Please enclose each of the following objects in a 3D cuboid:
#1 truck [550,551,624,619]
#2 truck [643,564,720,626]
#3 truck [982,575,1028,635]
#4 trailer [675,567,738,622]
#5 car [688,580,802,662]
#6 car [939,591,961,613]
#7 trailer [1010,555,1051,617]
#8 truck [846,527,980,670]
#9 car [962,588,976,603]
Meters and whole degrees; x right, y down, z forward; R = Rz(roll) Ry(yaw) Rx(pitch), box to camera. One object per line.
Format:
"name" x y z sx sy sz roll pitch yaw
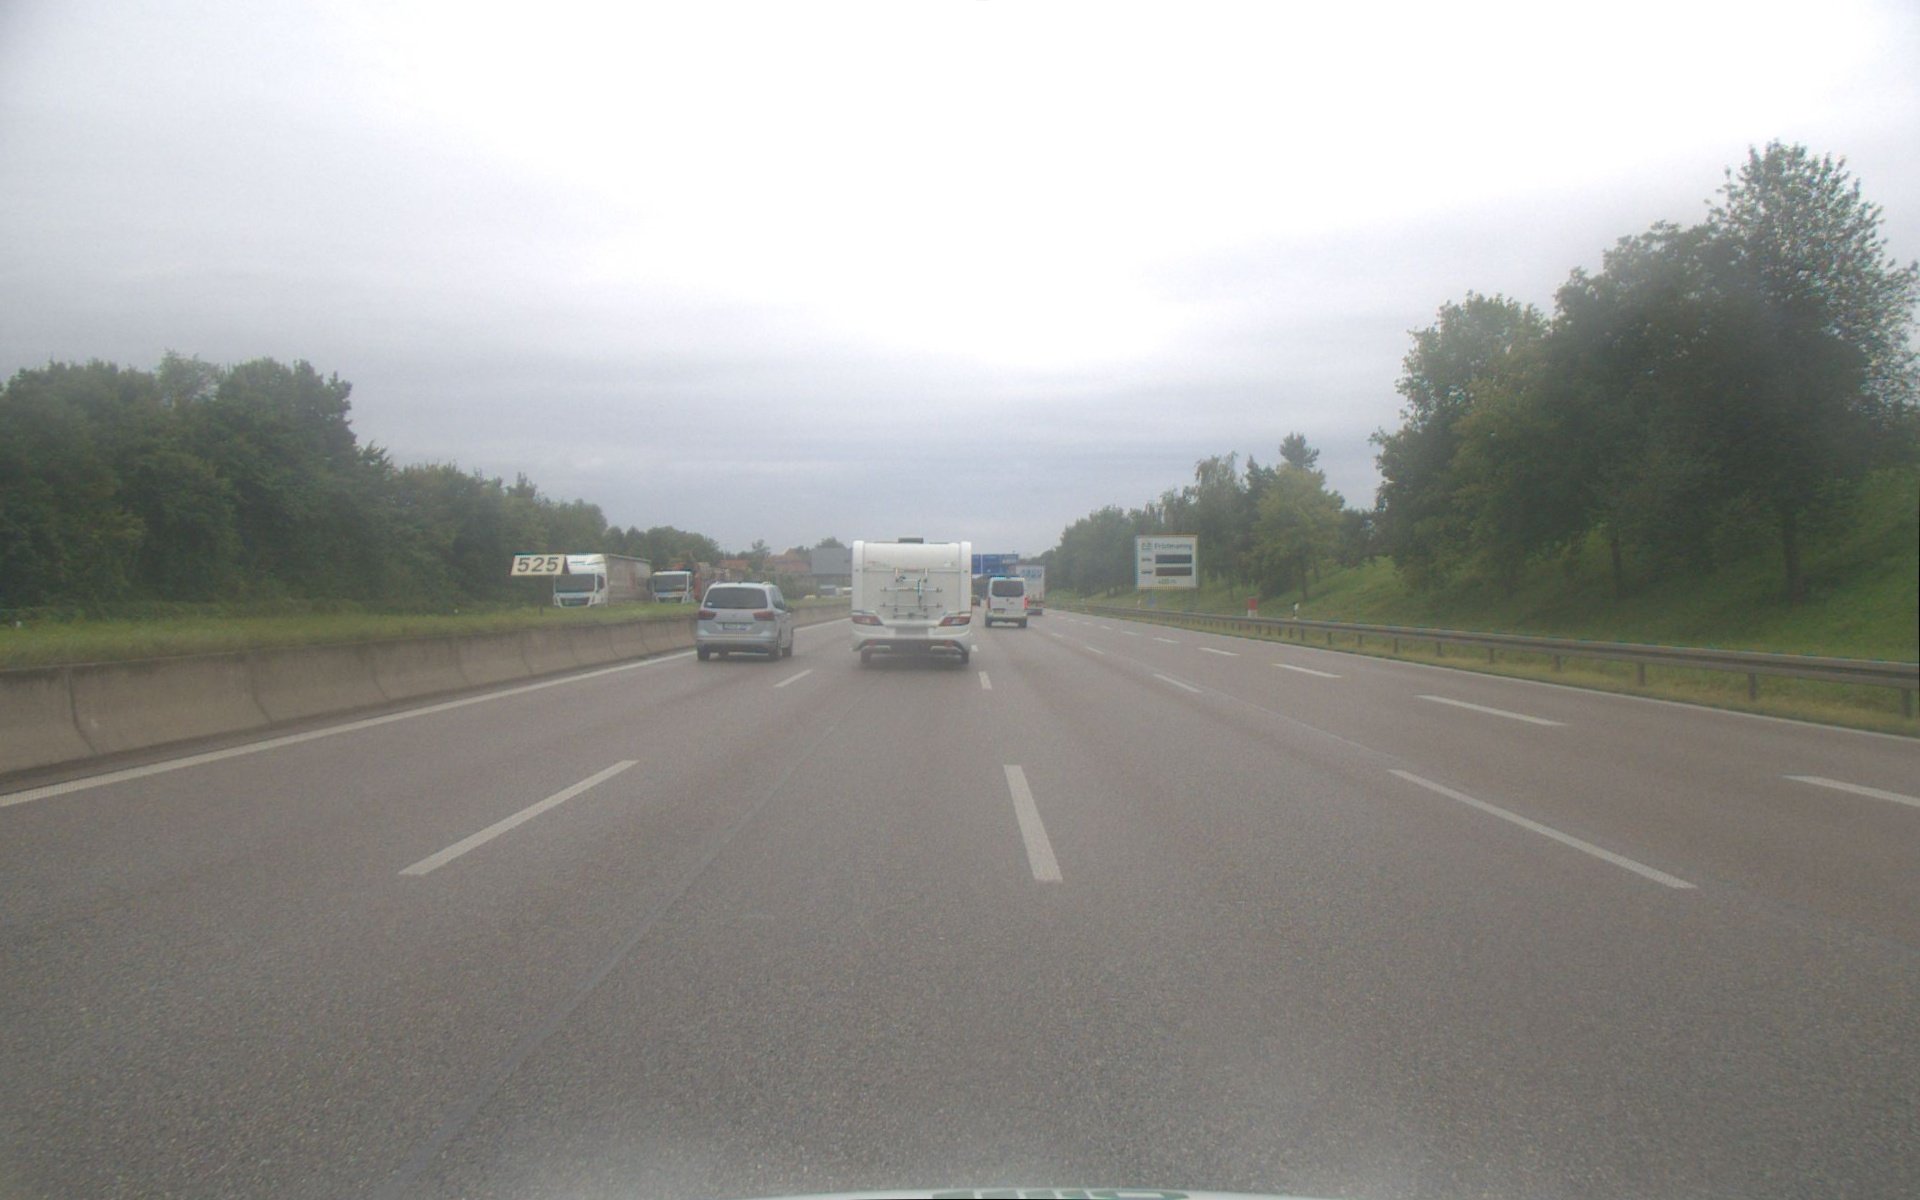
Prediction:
"truck" -20.491 -0.785 91.242 2.612 3.613 6.759 1 0 -1
"truck" -16.789 -0.270 100.410 2.891 3.527 11.182 1 0 -1
"truck" 2.168 0.251 81.479 2.011 2.818 5.548 1 0 -1
"trailer" -16.844 -0.335 110.284 2.871 3.519 8.319 1 0 0
"car" -4.834 0.453 37.721 2.084 1.736 4.112 1 0 -1
"car" -0.838 0.204 136.765 1.777 1.770 3.881 1 0 -1
"trailer" 5.916 -1.111 140.441 3.036 5.008 11.790 1 0 1
"truck" -0.958 -0.016 35.282 2.607 2.790 5.076 1 0 -1
"car" 1.225 -0.578 228.743 1.953 2.049 3.999 1 0 -1
